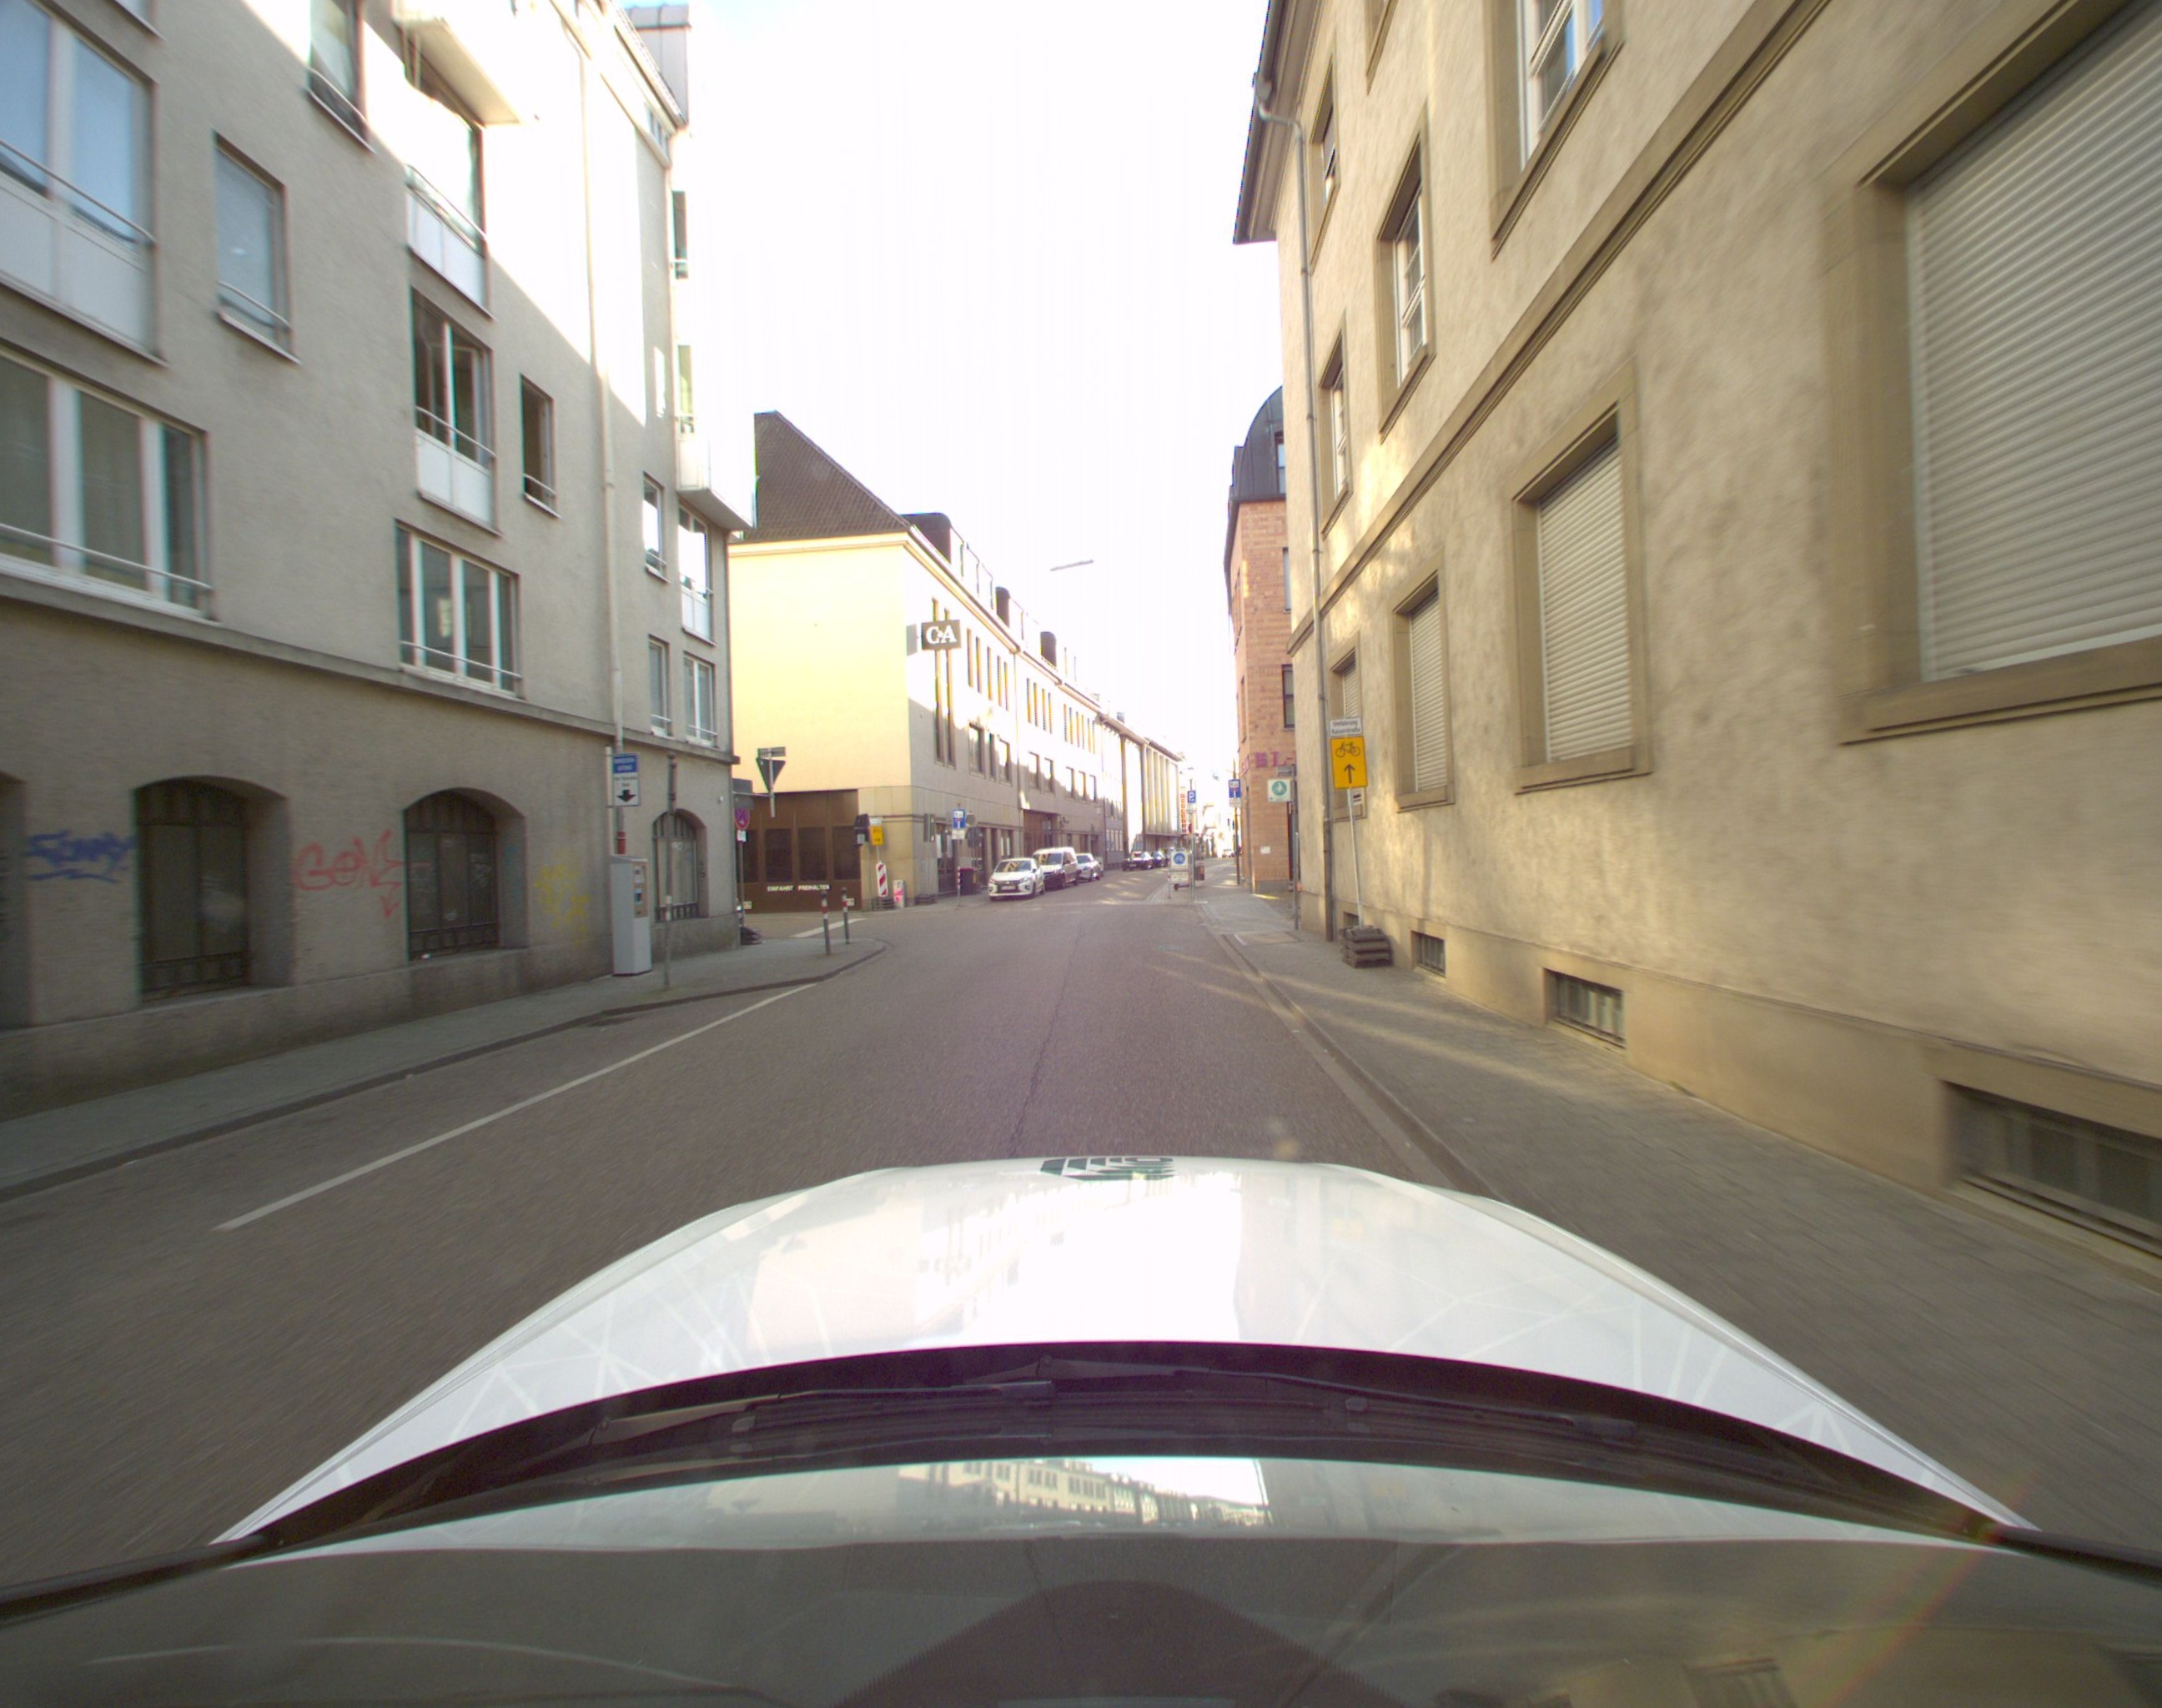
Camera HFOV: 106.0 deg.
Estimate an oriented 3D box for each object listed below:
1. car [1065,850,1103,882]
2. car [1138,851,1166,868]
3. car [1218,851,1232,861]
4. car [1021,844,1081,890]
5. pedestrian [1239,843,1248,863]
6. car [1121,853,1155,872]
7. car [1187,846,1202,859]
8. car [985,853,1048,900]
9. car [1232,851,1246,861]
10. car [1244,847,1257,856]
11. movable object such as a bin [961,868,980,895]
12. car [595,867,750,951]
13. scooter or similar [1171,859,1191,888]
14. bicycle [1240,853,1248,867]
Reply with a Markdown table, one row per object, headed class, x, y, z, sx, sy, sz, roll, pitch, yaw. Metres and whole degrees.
| class | x | y | z | sx | sy | sz | roll | pitch | yaw |
| --- | --- | --- | --- | --- | --- | --- | --- | --- | --- |
| car | 0.183 | 0.587 | 42.478 | 1.263 | 1.507 | 3.412 | -4 | 0 | 11 |
| car | 6.053 | 0.448 | 69.062 | 1.712 | 1.340 | 4.016 | -3 | 0 | 14 |
| car | 21.899 | 0.333 | 123.705 | 1.676 | 1.370 | 3.633 | -3 | 0 | 16 |
| car | -1.246 | 0.542 | 36.365 | 1.660 | 1.818 | 4.564 | -4 | 0 | 10 |
| pedestrian | 14.278 | -0.084 | 71.396 | 0.662 | 1.730 | 0.841 | 0 | 0 | 3 |
| car | 4.455 | 0.632 | 62.704 | 1.868 | 1.332 | 4.116 | -3 | 0 | 14 |
| car | 13.801 | -0.247 | 98.977 | 1.329 | 1.494 | 3.360 | -3 | 0 | 14 |
| car | -2.364 | 0.797 | 30.553 | 1.662 | 1.507 | 3.799 | -4 | 0 | 5 |
| car | 23.974 | 0.308 | 123.394 | 1.676 | 1.370 | 3.633 | -3 | 0 | 16 |
| car | 26.979 | -0.418 | 129.784 | 1.676 | 1.370 | 3.633 | -3 | 0 | 16 |
| movable object such as a bin | -4.311 | 1.071 | 31.835 | 0.606 | 1.060 | 0.713 | 0 | 0 | 1 |
| car | -9.519 | 1.214 | 18.845 | 3.948 | 1.655 | 1.774 | -3 | 0 | 41 |
| scooter or similar | 3.862 | 0.747 | 31.449 | 0.766 | 1.136 | 0.270 | 0 | 0 | 6 |
| bicycle | 12.598 | 0.454 | 62.942 | 0.508 | 0.994 | 2.656 | -2 | 0 | 11 |
